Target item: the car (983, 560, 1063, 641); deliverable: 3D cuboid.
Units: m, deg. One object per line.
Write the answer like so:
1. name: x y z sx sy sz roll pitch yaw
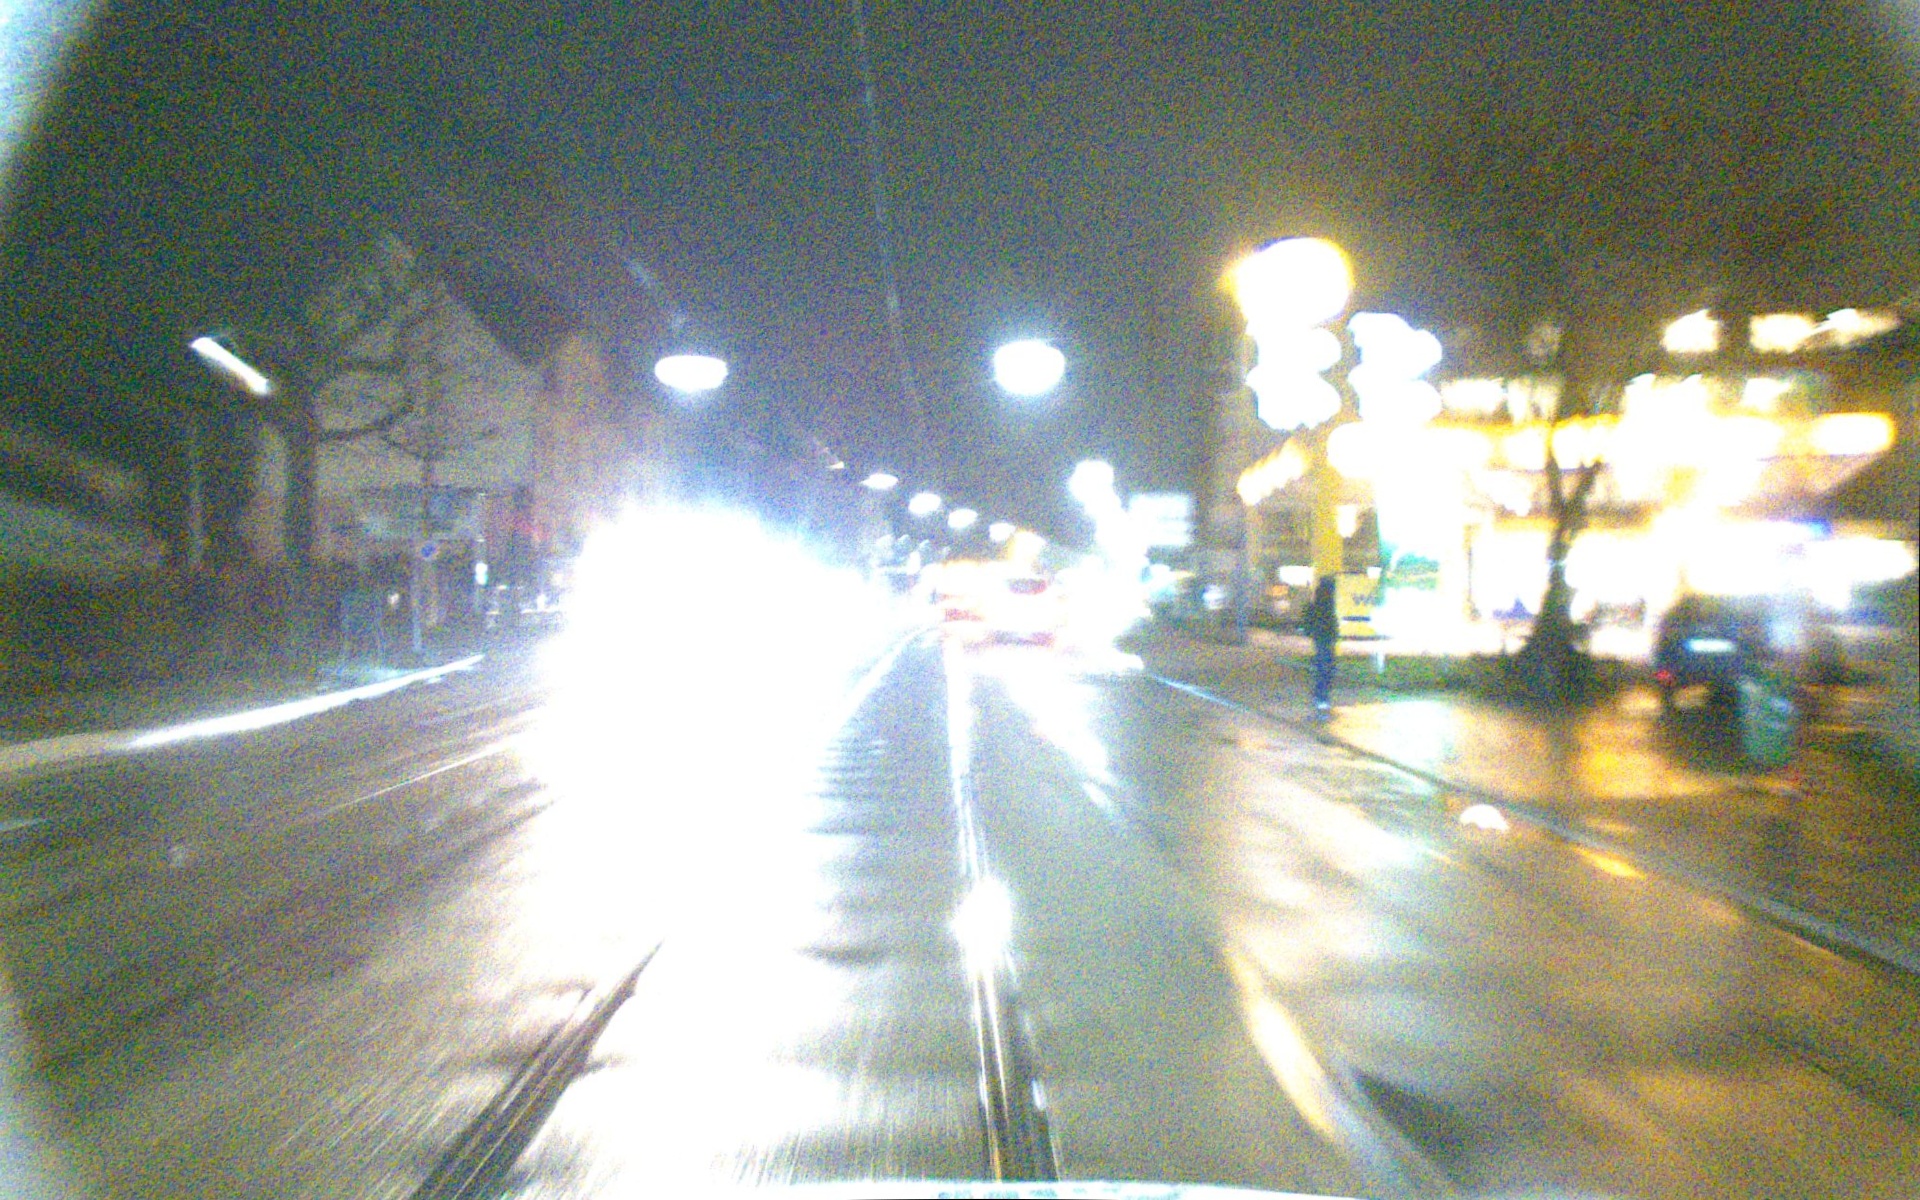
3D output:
1. car: 1.908 -0.011 51.480 2.199 2.402 4.392 0 0 -2

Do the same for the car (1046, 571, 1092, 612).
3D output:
1. car: 5.027 -0.400 76.887 1.974 1.847 4.001 0 0 1

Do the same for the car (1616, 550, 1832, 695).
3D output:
1. car: 10.246 0.251 22.013 1.989 1.730 4.109 0 0 34

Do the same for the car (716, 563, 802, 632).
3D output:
1. car: -5.929 -0.091 49.383 2.274 1.966 4.959 0 0 -4

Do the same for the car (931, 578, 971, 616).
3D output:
1. car: -0.484 -0.149 82.975 1.953 1.847 3.999 0 0 -2

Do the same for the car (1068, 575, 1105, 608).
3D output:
1. car: 7.953 -0.529 104.438 1.953 2.049 3.999 0 0 -1

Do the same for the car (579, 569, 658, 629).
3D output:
1. car: -12.036 -0.049 58.558 1.952 2.049 4.000 0 0 0

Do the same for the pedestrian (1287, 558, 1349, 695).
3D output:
1. pedestrian: 4.821 0.344 22.265 0.761 1.807 0.694 0 0 17

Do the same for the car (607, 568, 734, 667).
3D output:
1. car: -5.426 0.288 31.432 1.954 1.754 4.073 0 0 -4
